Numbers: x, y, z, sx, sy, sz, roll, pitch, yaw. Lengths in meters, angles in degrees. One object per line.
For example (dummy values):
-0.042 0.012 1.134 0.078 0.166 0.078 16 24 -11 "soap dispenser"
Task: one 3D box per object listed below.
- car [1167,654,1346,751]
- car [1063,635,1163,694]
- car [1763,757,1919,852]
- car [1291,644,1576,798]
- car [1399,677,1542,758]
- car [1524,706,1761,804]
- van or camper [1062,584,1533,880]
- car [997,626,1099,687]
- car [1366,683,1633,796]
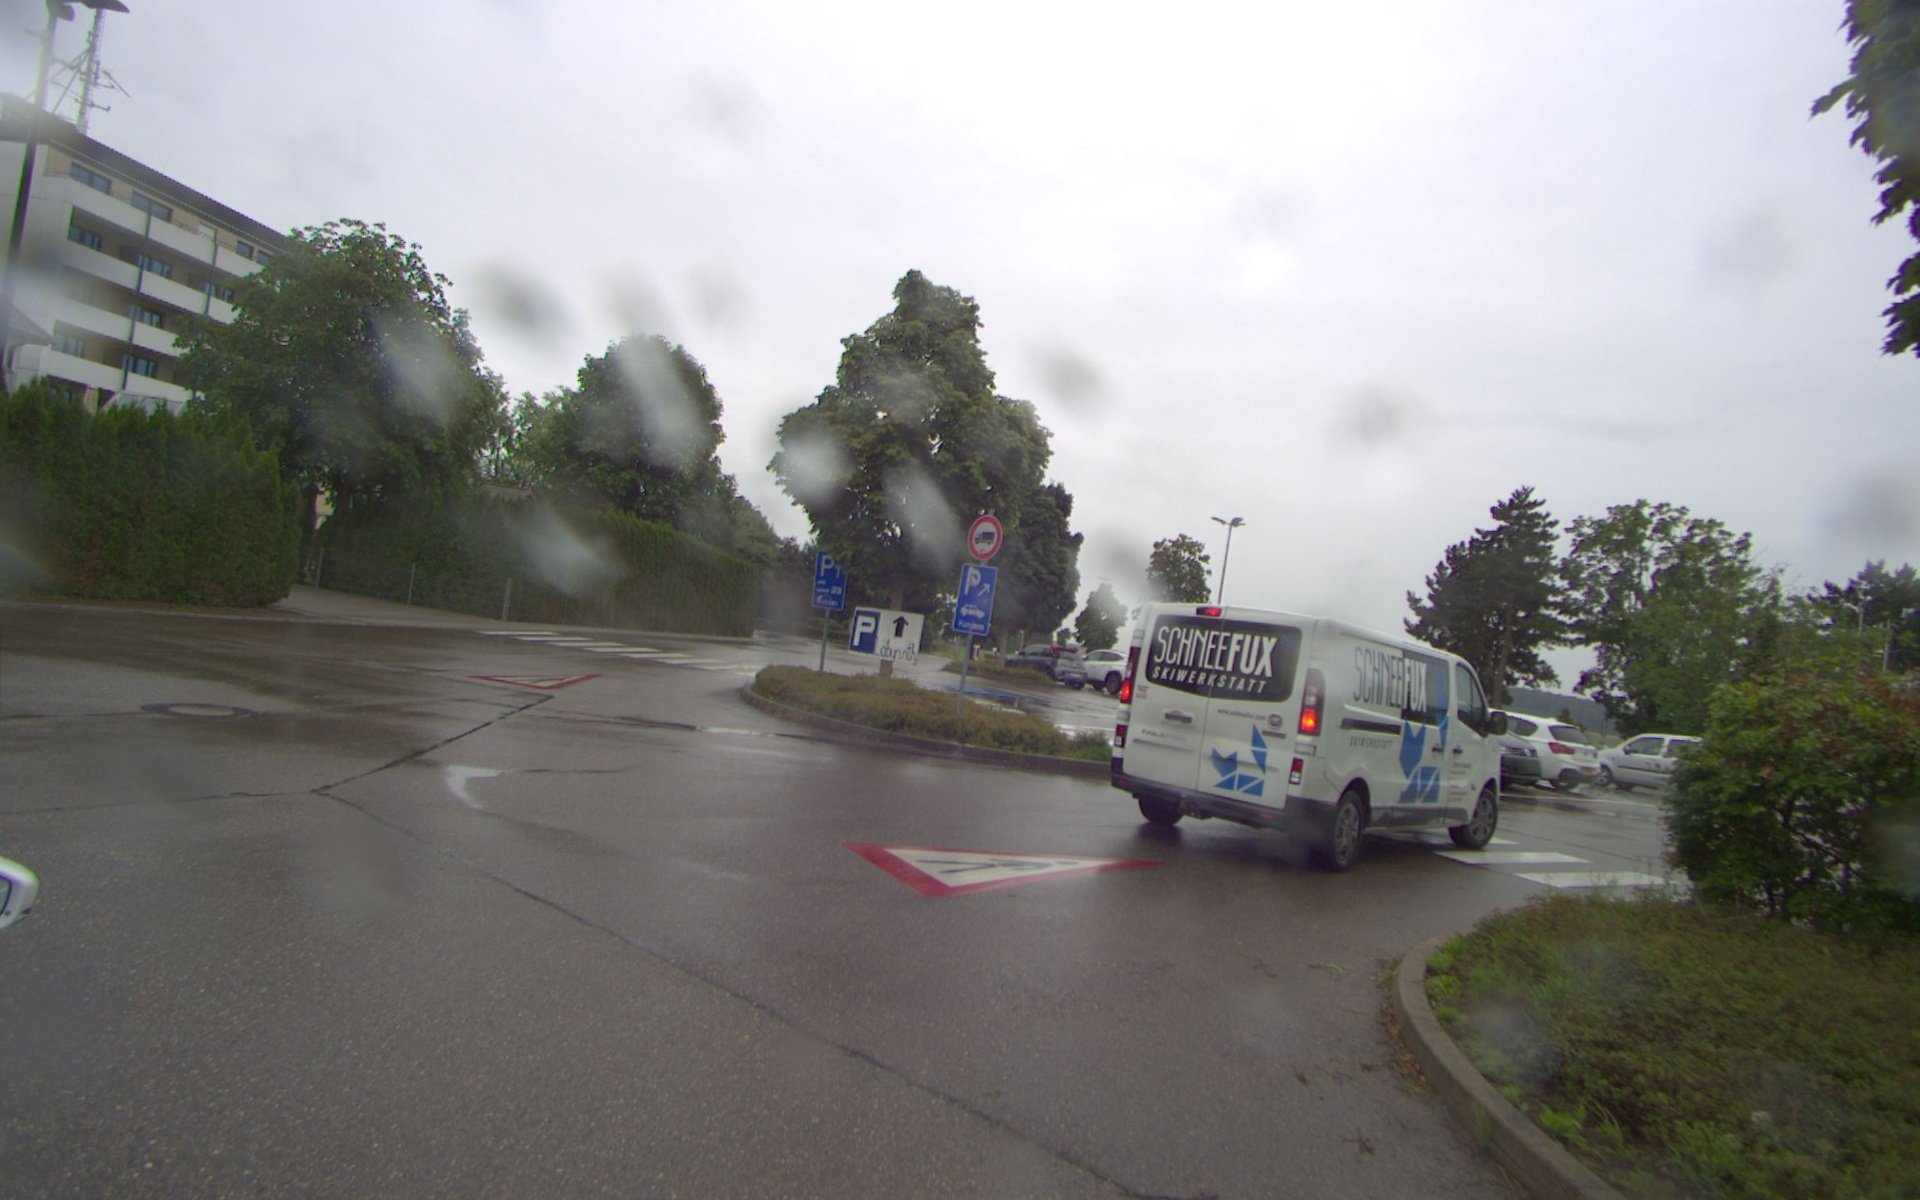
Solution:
8.115 2.778 27.899 1.908 1.908 4.359 8 0 -34 "car"
5.932 2.480 39.504 1.693 1.713 4.021 8 0 -26 "car"
29.408 6.657 32.585 1.980 2.106 4.728 8 0 -31 "car"
9.387 2.346 20.407 1.980 2.215 4.728 8 0 -31 "car"
17.300 3.953 34.239 1.771 2.037 3.749 8 -1 -35 "car"
18.066 4.075 26.894 1.980 1.606 4.728 8 0 -31 "car"
3.518 1.254 9.699 2.166 1.967 5.174 6 -3 44 "van or camper"
3.292 2.111 38.461 1.780 1.713 4.017 8 0 -29 "car"
11.536 2.953 21.895 1.867 1.490 4.728 8 0 -31 "car"
